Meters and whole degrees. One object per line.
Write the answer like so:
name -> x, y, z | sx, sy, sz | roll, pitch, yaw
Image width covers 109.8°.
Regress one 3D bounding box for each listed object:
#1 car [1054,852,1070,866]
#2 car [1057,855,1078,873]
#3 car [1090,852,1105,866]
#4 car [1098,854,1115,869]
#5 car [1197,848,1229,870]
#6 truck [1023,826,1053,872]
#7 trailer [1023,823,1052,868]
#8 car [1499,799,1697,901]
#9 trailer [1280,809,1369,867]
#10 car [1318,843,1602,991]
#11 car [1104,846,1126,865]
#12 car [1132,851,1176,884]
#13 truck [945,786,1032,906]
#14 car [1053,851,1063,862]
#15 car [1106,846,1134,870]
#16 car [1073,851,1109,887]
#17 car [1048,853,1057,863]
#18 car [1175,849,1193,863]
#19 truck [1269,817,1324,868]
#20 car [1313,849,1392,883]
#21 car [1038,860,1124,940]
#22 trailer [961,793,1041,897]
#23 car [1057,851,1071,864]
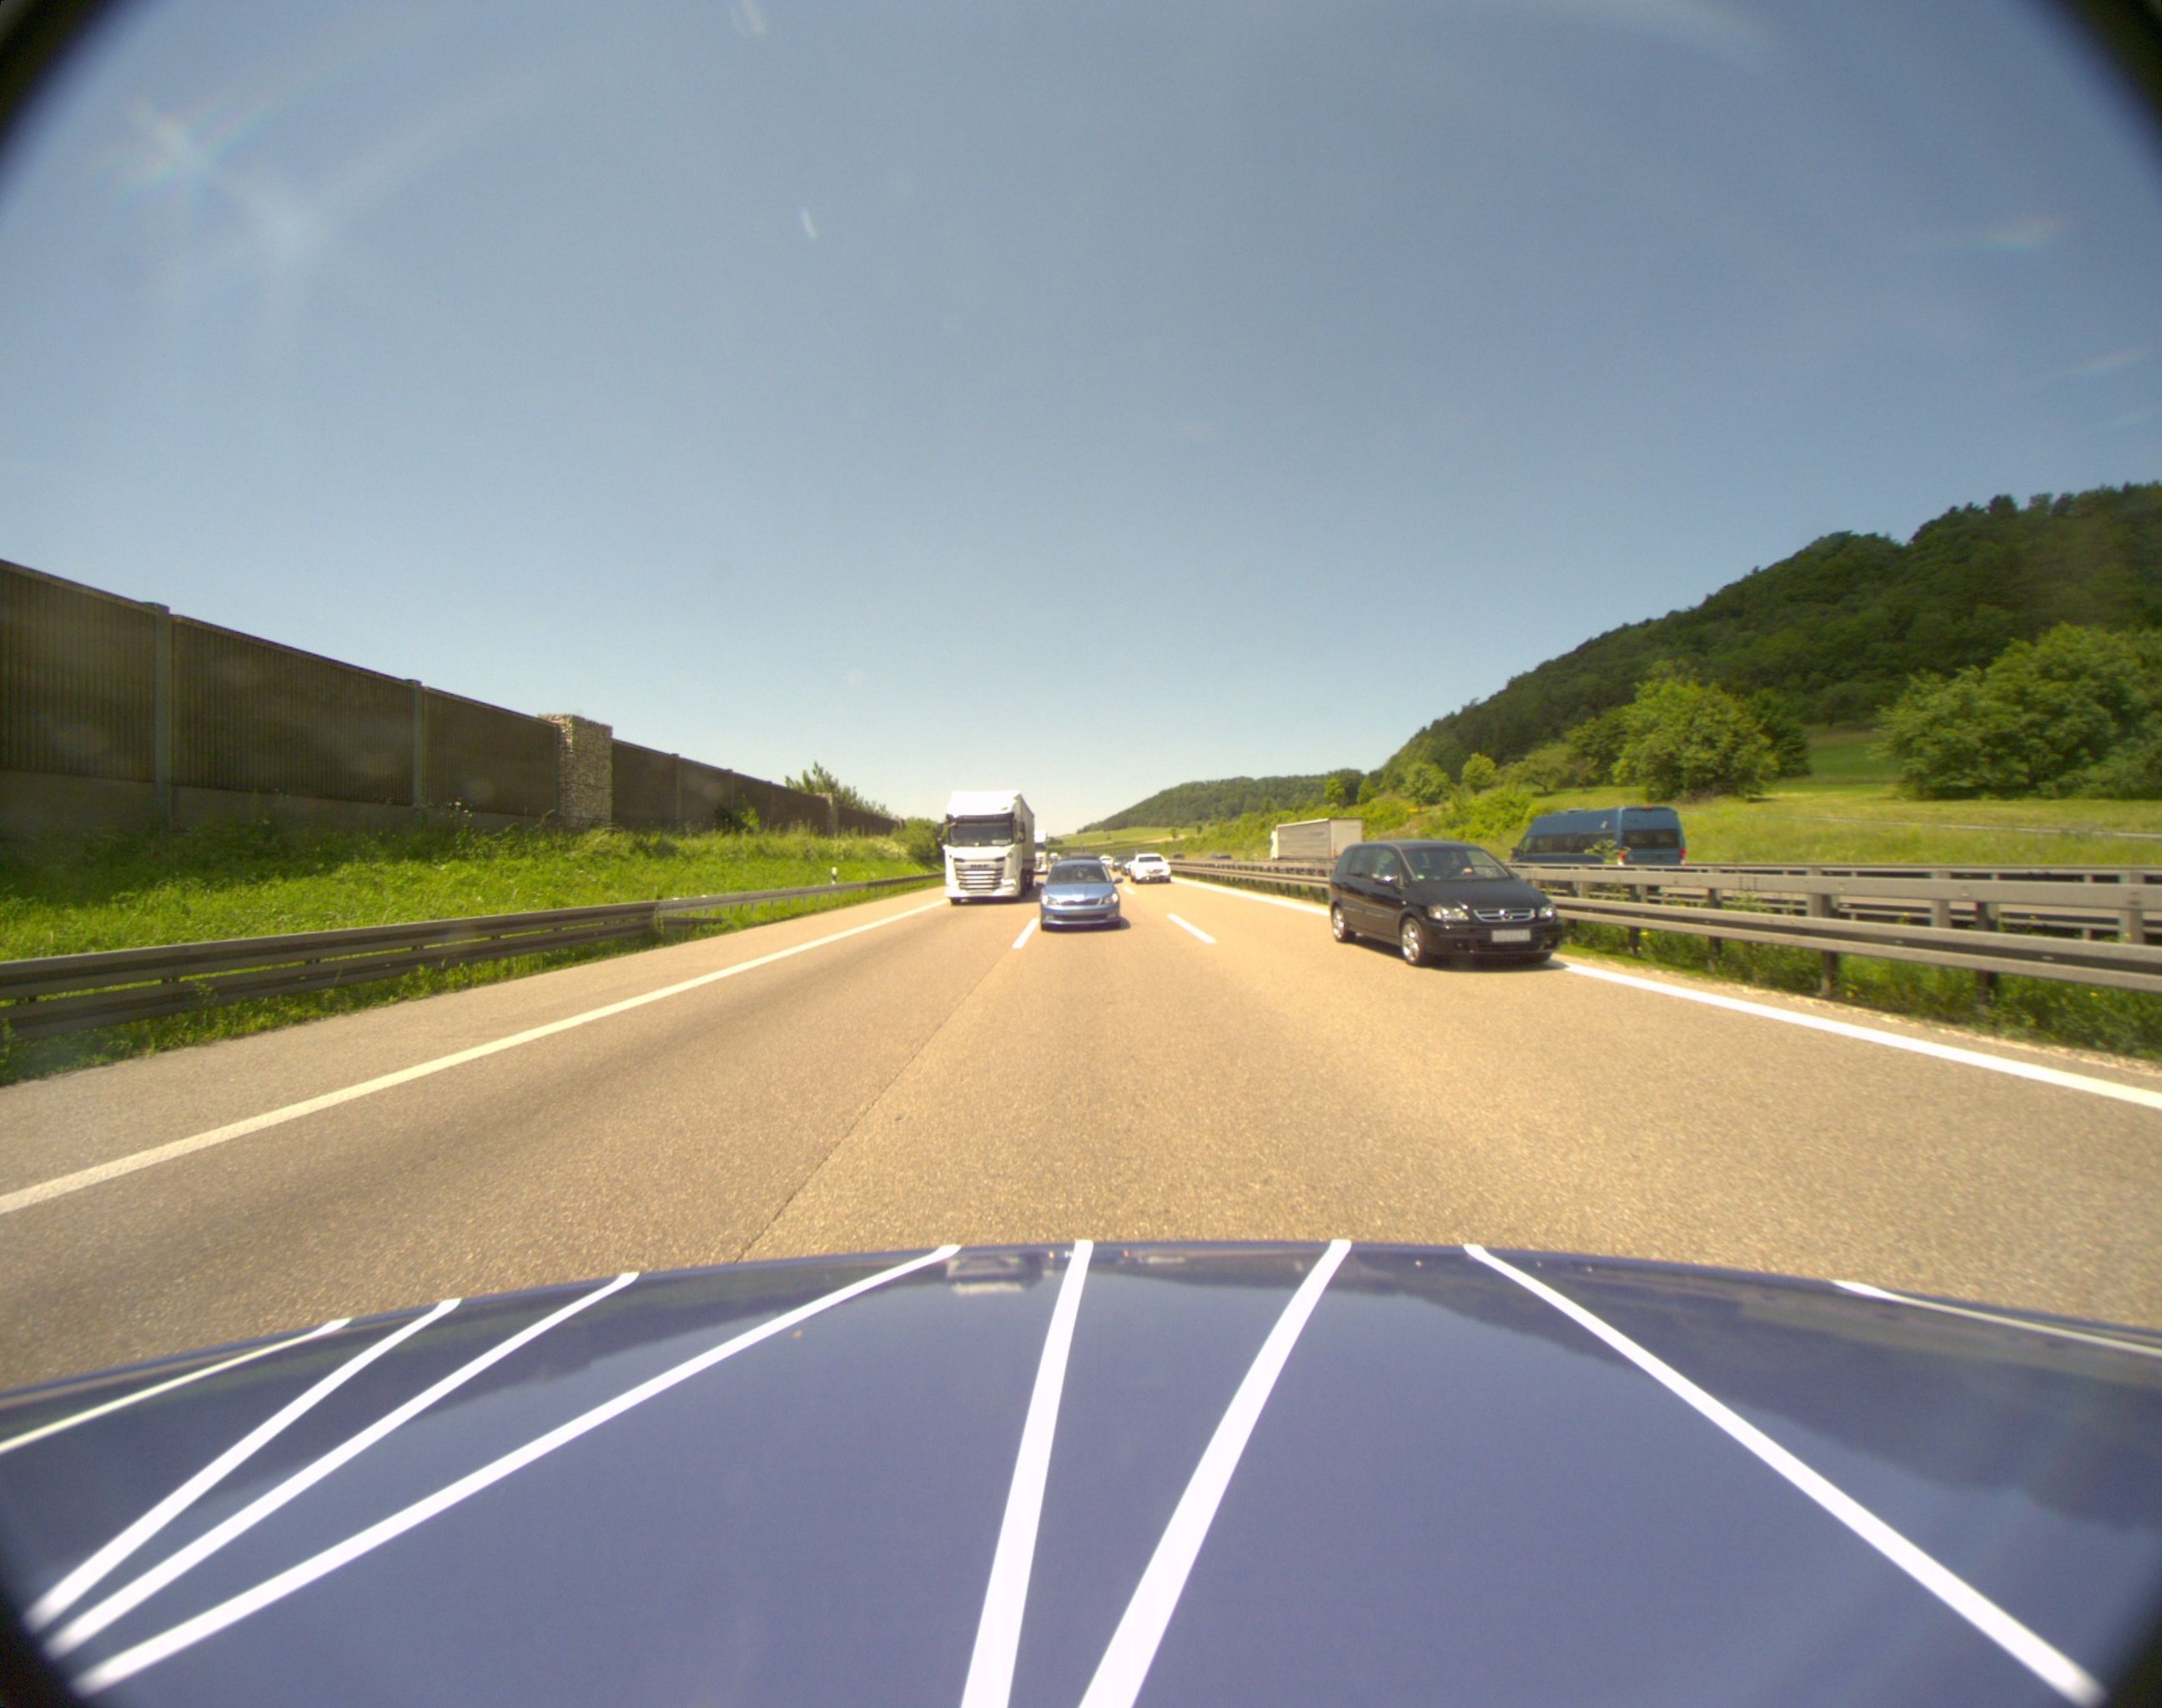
car -> -2.477, 0.588, 100.485 | 1.999, 1.702, 3.999 | -2, 1, -2
car -> -1.452, 1.004, 79.966 | 1.999, 1.702, 3.999 | -2, 1, -2
car -> 2.285, 0.647, 104.641 | 1.998, 1.702, 4.000 | -2, 1, 1
car -> 3.167, 0.866, 93.874 | 1.998, 1.702, 4.000 | -2, 1, 1
car -> 11.046, 0.425, 63.807 | 1.851, 1.699, 4.282 | -2, 0, -2
truck -> -4.057, -0.497, 71.493 | 2.532, 4.065, 6.077 | -2, 1, -4
trailer -> -4.434, -0.822, 77.183 | 2.545, 4.085, 13.622 | -2, 1, -4
car -> 16.666, -0.148, 25.086 | 2.161, 2.846, 6.398 | -2, 1, 0
trailer -> 19.621, -1.265, 62.485 | 2.862, 4.167, 13.613 | -2, 1, 0
car -> 4.953, 0.705, 10.747 | 1.805, 1.625, 4.446 | -1, 0, 0
car -> 3.284, 0.137, 74.335 | 1.998, 1.702, 4.000 | -2, 1, 1
car -> 3.954, 0.704, 41.688 | 1.999, 1.612, 3.999 | -2, 0, 0
truck -> -3.291, -0.270, 28.587 | 2.484, 3.954, 6.380 | -1, 0, -1
car -> -4.465, 0.517, 146.925 | 1.999, 2.002, 3.999 | -2, 1, -2
car -> 2.977, 0.291, 58.706 | 1.998, 1.692, 4.000 | -2, 1, 1
car -> 0.486, 0.728, 38.938 | 1.737, 1.674, 4.197 | -1, 0, 0
car -> -6.560, 0.941, 177.386 | 1.999, 2.002, 3.999 | -2, 1, -2
car -> 14.814, 0.293, 109.142 | 1.998, 1.842, 4.406 | -2, 0, 1
truck -> 19.437, -1.026, 68.900 | 2.805, 4.207, 7.230 | -2, 1, 0
car -> 12.521, 0.515, 35.404 | 1.998, 1.378, 4.720 | -2, 0, 1
car -> -0.080, 0.918, 17.276 | 1.660, 1.481, 4.652 | -1, 0, -2
trailer -> -3.420, -0.363, 36.074 | 2.484, 3.954, 13.653 | -1, 0, -1
car -> -2.520, 0.490, 111.866 | 1.999, 1.702, 3.999 | -2, 1, -2
